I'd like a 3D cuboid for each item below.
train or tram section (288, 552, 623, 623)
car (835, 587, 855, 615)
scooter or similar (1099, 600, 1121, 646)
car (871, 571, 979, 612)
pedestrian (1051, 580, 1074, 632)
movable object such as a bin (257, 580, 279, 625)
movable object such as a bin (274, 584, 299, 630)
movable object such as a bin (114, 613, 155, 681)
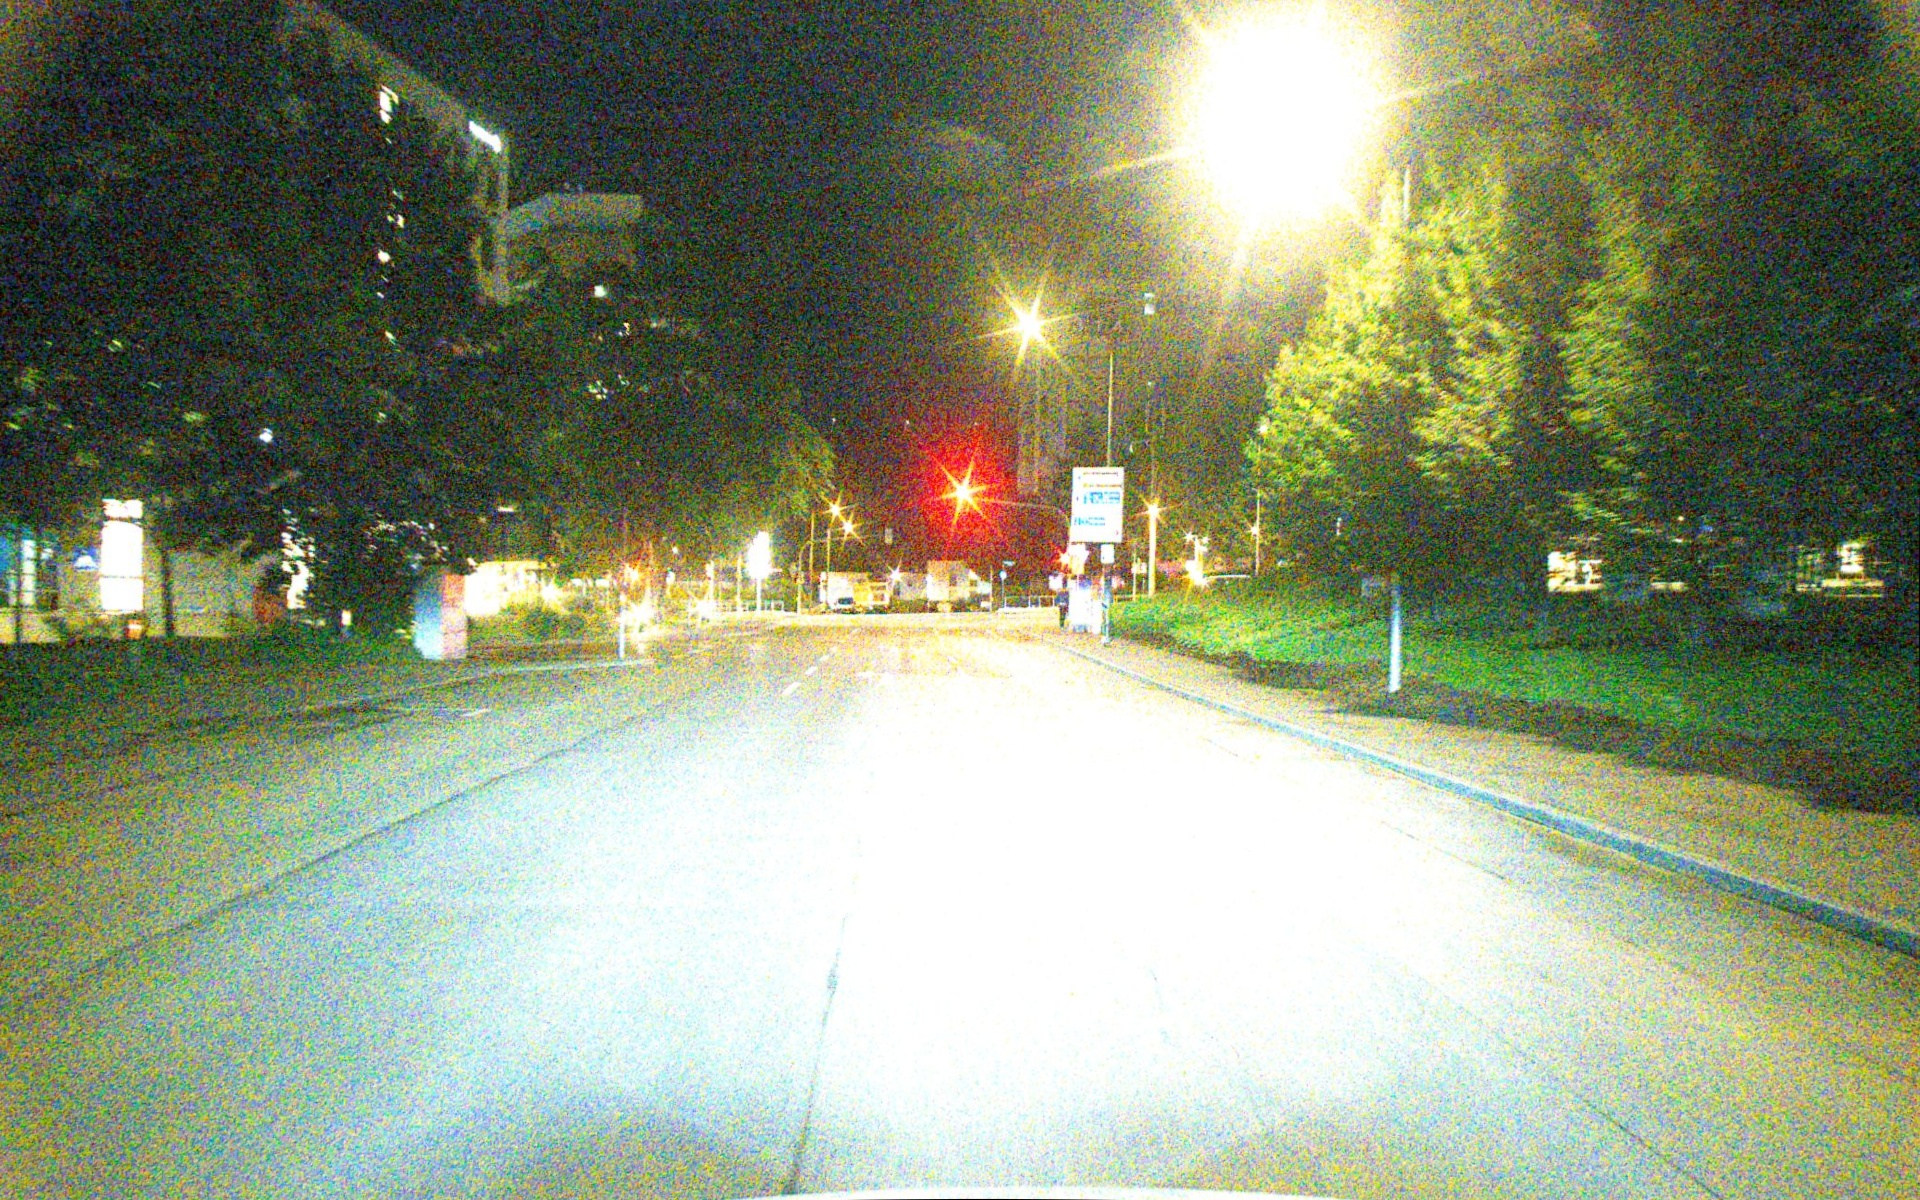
[{"bbox_3d":[-29.131,-0.702,95.767,18.770,3.890,2.925,0,0,4],"label":"train or tram section"},{"bbox_3d":[-12.805,0.128,184.245,1.955,3.026,3.994,0,0,-7],"label":"car"},{"bbox_3d":[4.309,0.657,47.494,0.484,1.284,1.320,-2,0,0],"label":"scooter or similar"},{"bbox_3d":[-4.218,-1.025,197.795,12.181,4.792,4.790,0,0,-16],"label":"car"},{"bbox_3d":[4.075,0.236,65.633,0.726,2.016,0.622,0,0,-18],"label":"pedestrian"},{"bbox_3d":[-22.038,0.080,52.710,0.349,1.394,0.732,-1,3,0],"label":"movable object such as a bin"},{"bbox_3d":[-21.843,0.221,53.633,0.431,1.477,0.809,0,1,2],"label":"movable object such as a bin"},{"bbox_3d":[-16.833,0.952,33.726,0.614,1.330,0.560,-2,0,-40],"label":"movable object such as a bin"}]
